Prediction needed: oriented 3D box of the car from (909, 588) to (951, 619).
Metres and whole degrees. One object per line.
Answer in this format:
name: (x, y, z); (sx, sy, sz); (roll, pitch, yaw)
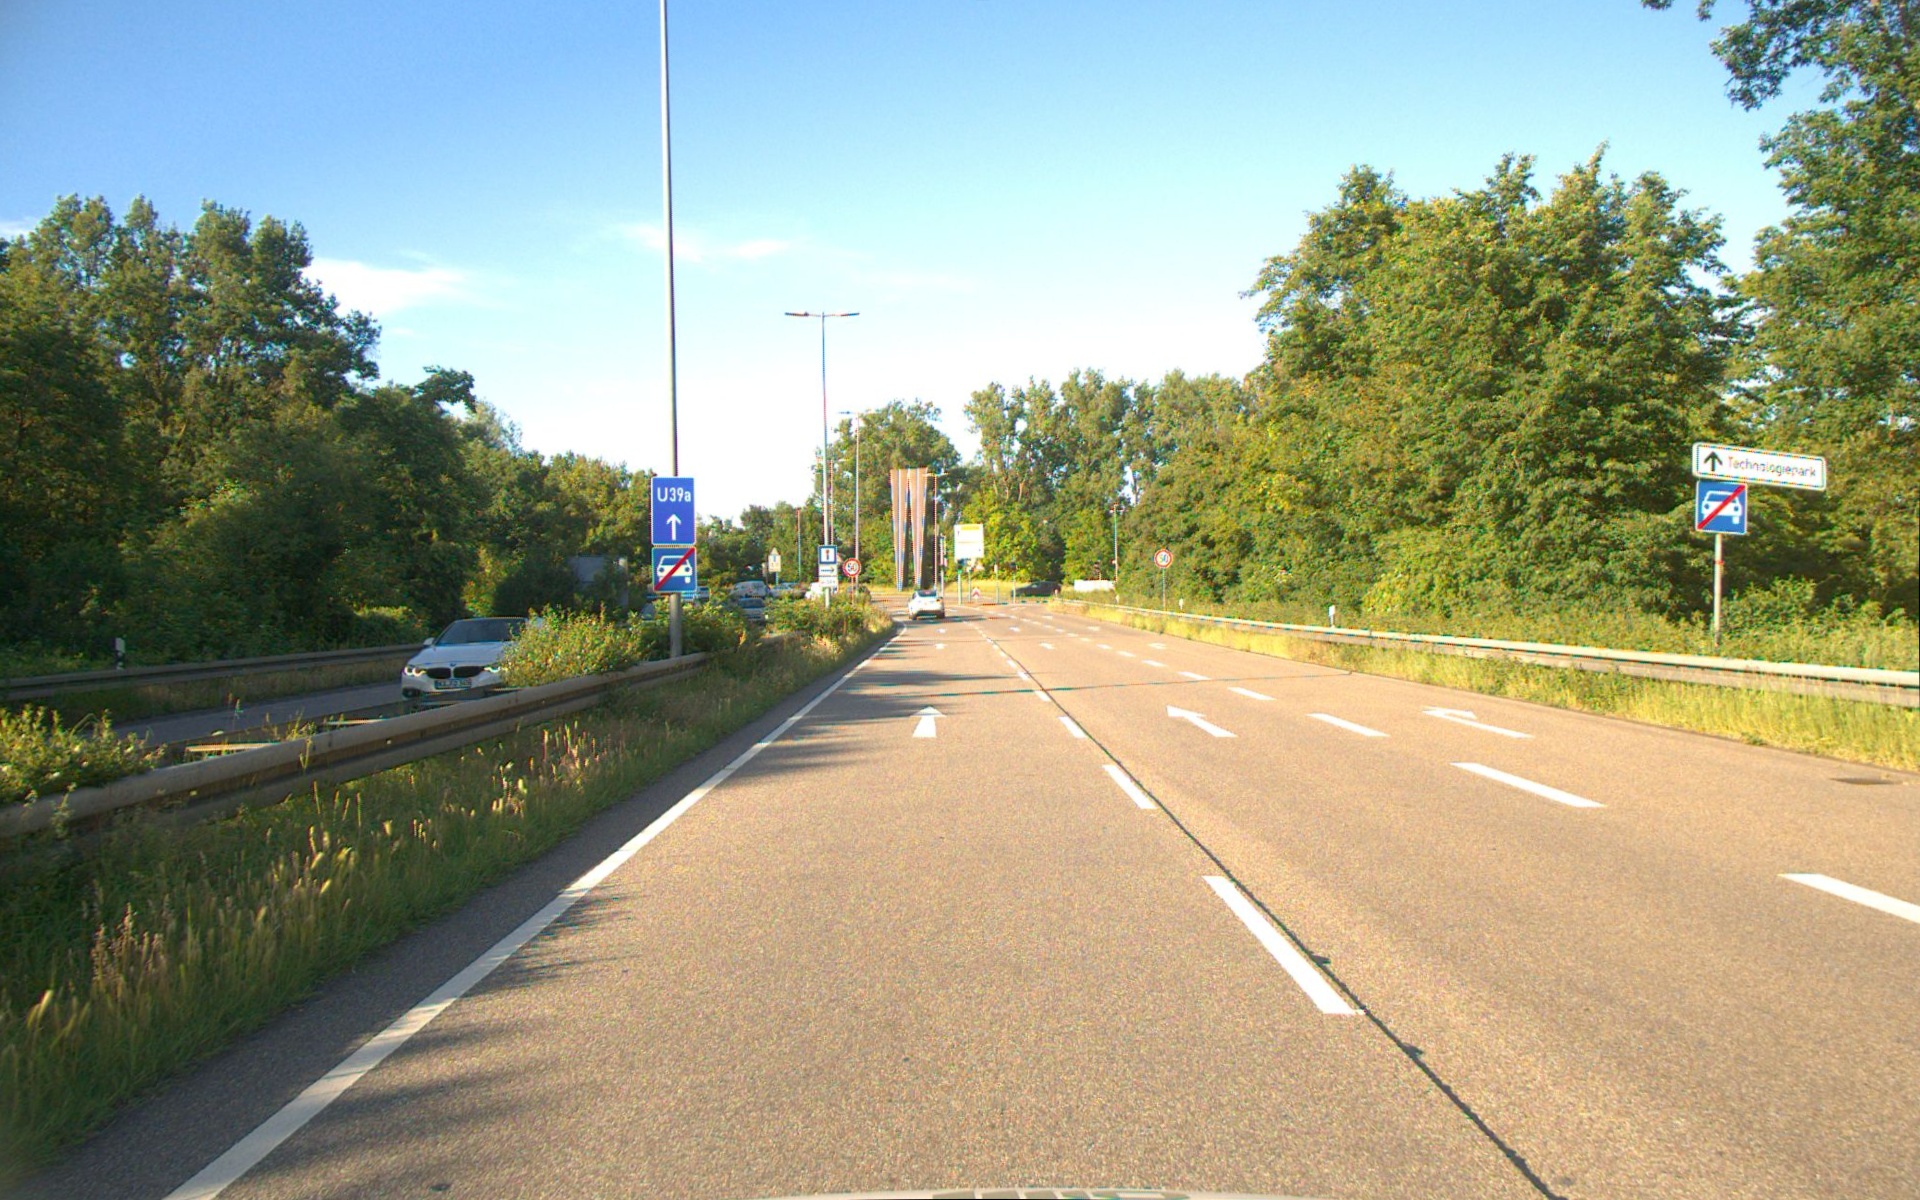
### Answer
car: (-1.747, 0.184, 95.656); (1.956, 1.668, 4.122); (-2, 1, -7)

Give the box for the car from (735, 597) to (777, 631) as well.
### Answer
car: (-10.424, 0.685, 84.704); (1.734, 1.597, 4.217); (-2, 0, -2)

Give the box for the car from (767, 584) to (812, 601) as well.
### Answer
car: (-15.900, -0.662, 154.037); (4.085, 1.500, 1.962); (0, 2, 45)

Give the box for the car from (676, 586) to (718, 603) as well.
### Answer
car: (-25.478, -0.530, 160.260); (2.254, 1.534, 3.939); (-2, 0, -42)

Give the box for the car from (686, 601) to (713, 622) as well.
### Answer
car: (-19.879, 0.850, 126.213); (1.771, 1.441, 4.525); (-3, 0, -7)

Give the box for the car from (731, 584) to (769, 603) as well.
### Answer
car: (-19.388, -0.619, 152.711); (1.951, 1.728, 3.955); (-2, 2, -33)

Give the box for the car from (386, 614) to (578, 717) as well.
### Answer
car: (-7.358, 0.953, 25.923); (1.737, 1.380, 4.461); (-1, 0, -1)

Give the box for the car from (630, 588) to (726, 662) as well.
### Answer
car: (-7.344, 0.607, 43.489); (1.796, 1.803, 4.337); (-1, 0, -1)
